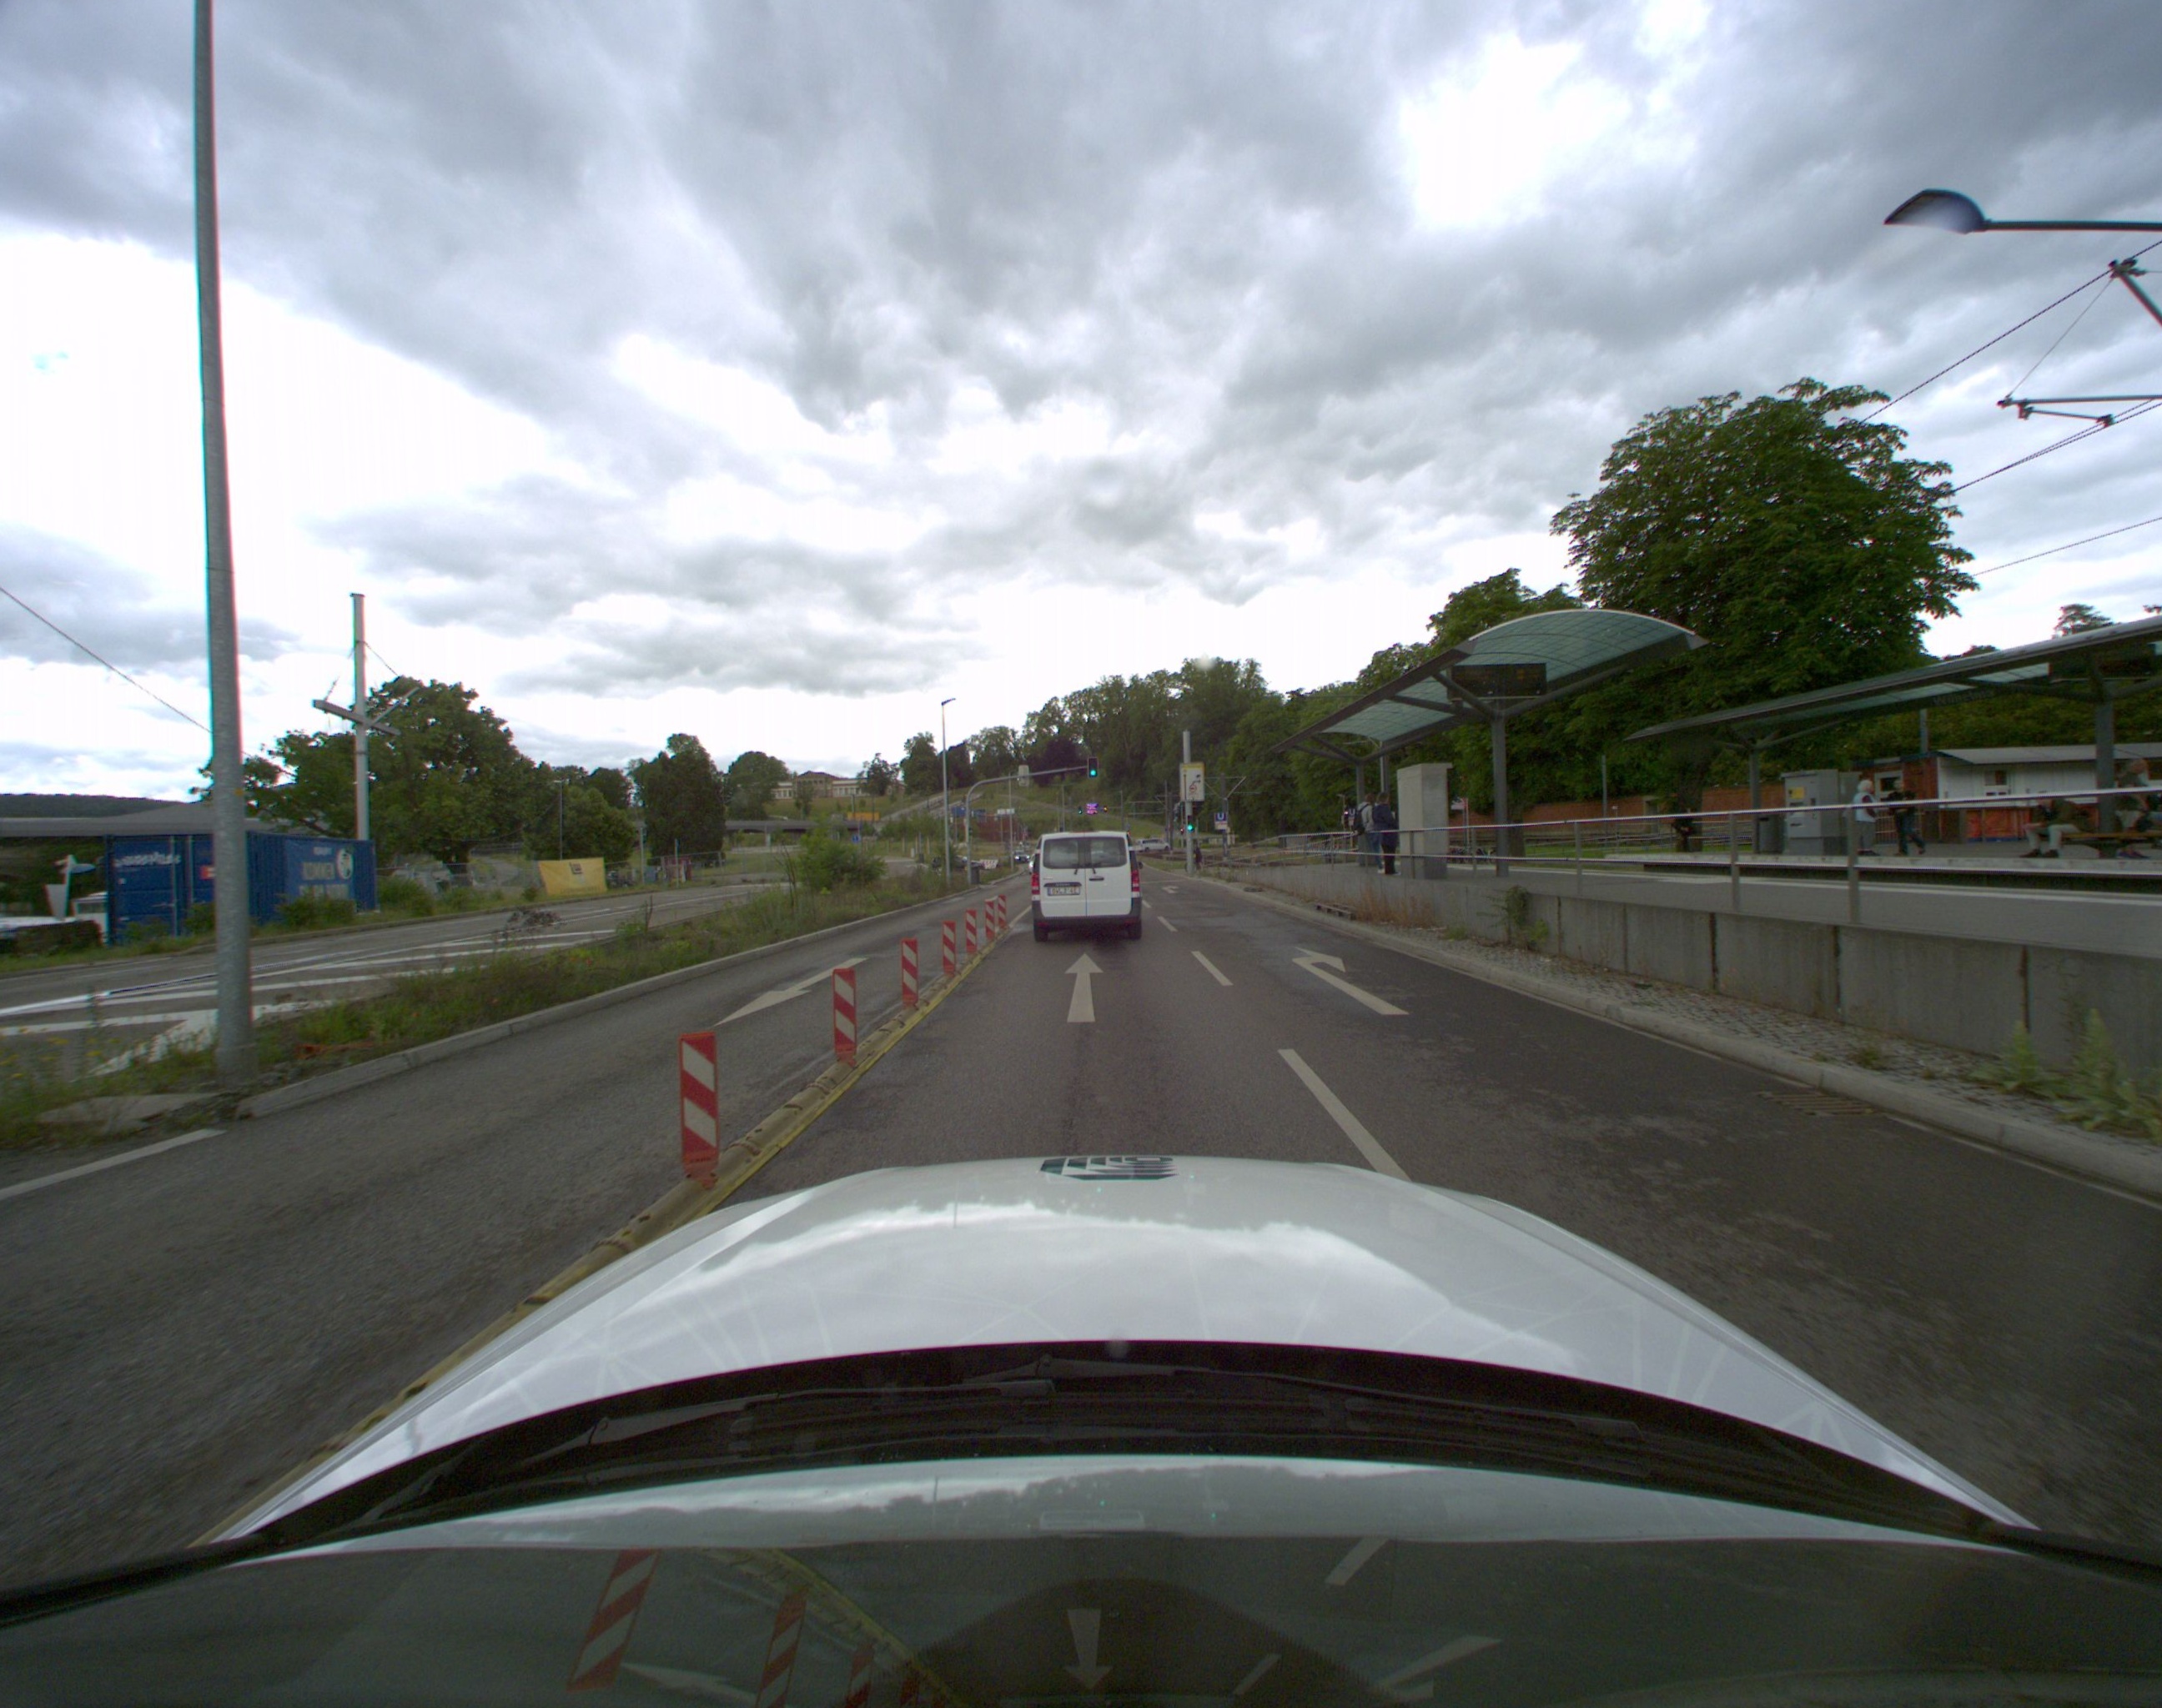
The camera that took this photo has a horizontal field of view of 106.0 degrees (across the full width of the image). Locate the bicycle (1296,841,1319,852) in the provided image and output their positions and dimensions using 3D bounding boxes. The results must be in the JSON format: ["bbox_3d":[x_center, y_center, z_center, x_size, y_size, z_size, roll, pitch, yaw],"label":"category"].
[{"bbox_3d":[20.518,-0.670,73.727,1.905,0.975,0.531,-3,1,0],"label":"bicycle"}]

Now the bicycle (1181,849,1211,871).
[{"bbox_3d":[6.192,0.313,43.863,1.693,1.074,0.613,-3,2,-39],"label":"bicycle"}]

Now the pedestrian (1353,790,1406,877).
[{"bbox_3d":[5.947,-0.420,16.258,0.767,1.699,0.732,0,2,2],"label":"pedestrian"}]

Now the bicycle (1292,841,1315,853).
[{"bbox_3d":[20.359,-0.661,74.454,1.905,0.975,0.531,-3,1,0],"label":"bicycle"}]

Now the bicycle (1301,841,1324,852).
[{"bbox_3d":[20.699,-0.675,72.912,1.905,0.975,0.531,-3,1,0],"label":"bicycle"}]

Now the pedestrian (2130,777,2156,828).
[{"bbox_3d":[31.324,-1.527,24.028,0.340,1.487,0.316,0,0,3],"label":"pedestrian"}]

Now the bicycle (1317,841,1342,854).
[{"bbox_3d":[20.605,-0.528,67.565,1.905,0.975,0.531,-3,1,0],"label":"bicycle"}]

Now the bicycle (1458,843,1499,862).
[{"bbox_3d":[20.390,-0.063,41.799,1.866,0.963,0.533,0,0,0],"label":"bicycle"}]

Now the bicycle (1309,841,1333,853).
[{"bbox_3d":[20.584,-0.585,69.893,1.905,0.975,0.531,-3,1,0],"label":"bicycle"}]

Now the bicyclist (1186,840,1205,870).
[{"bbox_3d":[6.150,0.051,43.829,0.810,1.572,0.611,-3,2,-39],"label":"bicyclist"}]

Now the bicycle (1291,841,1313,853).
[{"bbox_3d":[20.449,-0.664,75.436,1.905,0.975,0.531,-3,1,0],"label":"bicycle"}]

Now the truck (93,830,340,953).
[{"bbox_3d":[-28.203,1.031,27.202,2.808,3.335,8.403,-4,2,-27],"label":"truck"}]

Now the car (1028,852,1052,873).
[{"bbox_3d":[-3.160,0.612,63.346,1.586,1.517,4.084,-2,0,0],"label":"car"}]

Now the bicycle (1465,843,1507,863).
[{"bbox_3d":[20.402,-0.050,41.073,1.866,0.963,0.533,0,0,0],"label":"bicycle"}]

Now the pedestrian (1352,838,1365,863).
[{"bbox_3d":[17.023,-0.219,49.905,0.498,1.501,0.512,-3,0,-22],"label":"pedestrian"}]

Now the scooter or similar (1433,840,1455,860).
[{"bbox_3d":[20.968,-0.253,47.022,1.152,1.139,0.335,0,0,24],"label":"scooter or similar"}]

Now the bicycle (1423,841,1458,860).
[{"bbox_3d":[20.293,-0.181,45.941,1.757,1.033,0.483,0,0,0],"label":"bicycle"}]

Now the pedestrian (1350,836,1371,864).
[{"bbox_3d":[16.675,-0.221,48.575,0.836,1.609,0.773,-3,0,-22],"label":"pedestrian"}]

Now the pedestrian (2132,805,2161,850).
[{"bbox_3d":[18.000,-0.436,13.503,0.558,0.740,0.425,0,0,9],"label":"pedestrian"}]

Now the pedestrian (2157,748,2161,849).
[{"bbox_3d":[17.618,-0.885,12.796,0.522,1.620,0.676,0,0,2],"label":"pedestrian"}]

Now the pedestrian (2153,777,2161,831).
[{"bbox_3d":[31.111,-1.421,23.211,0.483,1.535,0.460,0,0,3],"label":"pedestrian"}]

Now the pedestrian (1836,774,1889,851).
[{"bbox_3d":[17.377,-0.916,18.123,0.542,1.677,0.675,0,0,-3],"label":"pedestrian"}]

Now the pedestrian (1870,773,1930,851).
[{"bbox_3d":[18.099,-0.909,18.010,0.672,1.677,0.676,0,0,-3],"label":"pedestrian"}]

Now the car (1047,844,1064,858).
[{"bbox_3d":[-2.945,-0.307,95.719,1.724,1.528,4.444,-3,0,0],"label":"car"}]

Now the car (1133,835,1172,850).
[{"bbox_3d":[10.143,-1.629,115.362,5.161,2.013,2.189,-1,0,-26],"label":"car"}]

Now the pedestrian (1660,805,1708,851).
[{"bbox_3d":[17.651,-0.757,23.860,0.671,1.323,0.968,0,0,-1],"label":"pedestrian"}]

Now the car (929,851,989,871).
[{"bbox_3d":[-10.563,0.632,70.844,4.679,1.477,2.006,-2,1,10],"label":"car"}]

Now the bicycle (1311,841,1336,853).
[{"bbox_3d":[20.608,-0.586,69.152,1.905,0.975,0.531,-3,1,0],"label":"bicycle"}]

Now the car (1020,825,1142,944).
[{"bbox_3d":[0.145,0.473,15.272,1.950,1.903,4.466,0,0,4],"label":"car"}]

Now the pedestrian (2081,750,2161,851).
[{"bbox_3d":[18.136,-0.894,14.080,0.860,1.677,0.759,0,0,-10],"label":"pedestrian"}]

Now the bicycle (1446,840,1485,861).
[{"bbox_3d":[20.601,-0.184,43.671,1.866,1.139,0.533,0,0,0],"label":"bicycle"}]

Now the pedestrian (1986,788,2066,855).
[{"bbox_3d":[17.016,-0.575,14.678,0.655,1.191,0.676,0,0,2],"label":"pedestrian"}]

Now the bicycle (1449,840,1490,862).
[{"bbox_3d":[20.332,-0.144,42.635,1.866,1.139,0.533,0,0,0],"label":"bicycle"}]

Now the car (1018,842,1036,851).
[{"bbox_3d":[-9.780,-1.371,147.021,1.948,1.627,3.965,-1,1,-26],"label":"car"}]

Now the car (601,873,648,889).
[{"bbox_3d":[-42.969,2.544,76.692,1.582,1.291,3.530,-2,1,39],"label":"car"}]

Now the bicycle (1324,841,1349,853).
[{"bbox_3d":[20.844,-0.562,66.451,1.905,0.895,0.531,-3,1,0],"label":"bicycle"}]

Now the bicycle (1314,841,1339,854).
[{"bbox_3d":[20.564,-0.531,68.213,1.905,0.975,0.531,-3,1,0],"label":"bicycle"}]

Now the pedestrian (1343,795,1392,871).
[{"bbox_3d":[5.989,-0.444,17.078,0.747,1.553,0.775,0,2,2],"label":"pedestrian"}]

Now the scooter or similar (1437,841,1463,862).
[{"bbox_3d":[20.374,-0.153,44.939,1.267,1.139,0.334,0,0,7],"label":"scooter or similar"}]
